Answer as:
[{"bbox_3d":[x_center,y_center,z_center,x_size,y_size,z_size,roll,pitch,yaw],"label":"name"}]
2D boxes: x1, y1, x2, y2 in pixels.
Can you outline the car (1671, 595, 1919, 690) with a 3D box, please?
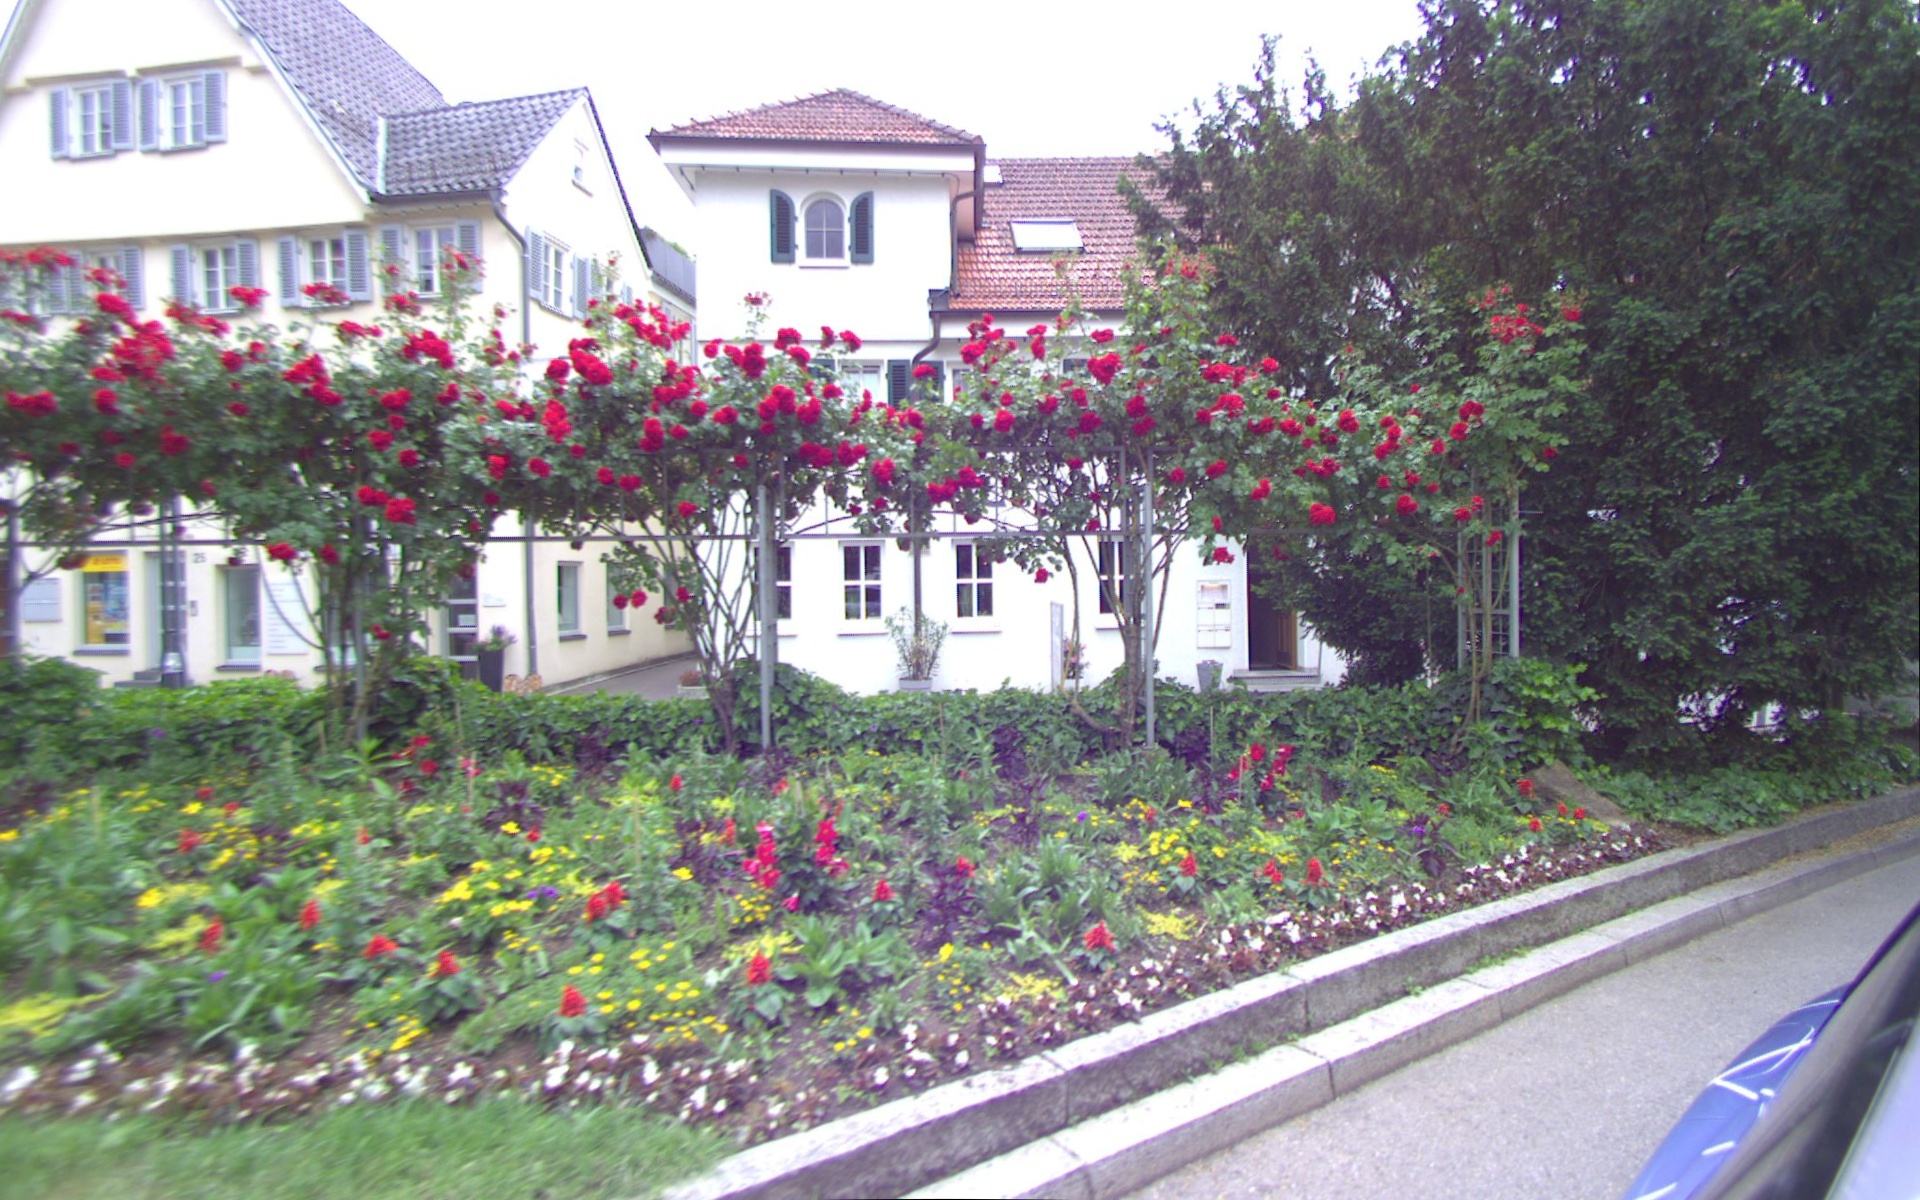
[{"bbox_3d":[15.121,0.663,17.836,1.858,1.436,3.811,0,1,-26],"label":"car"}]
